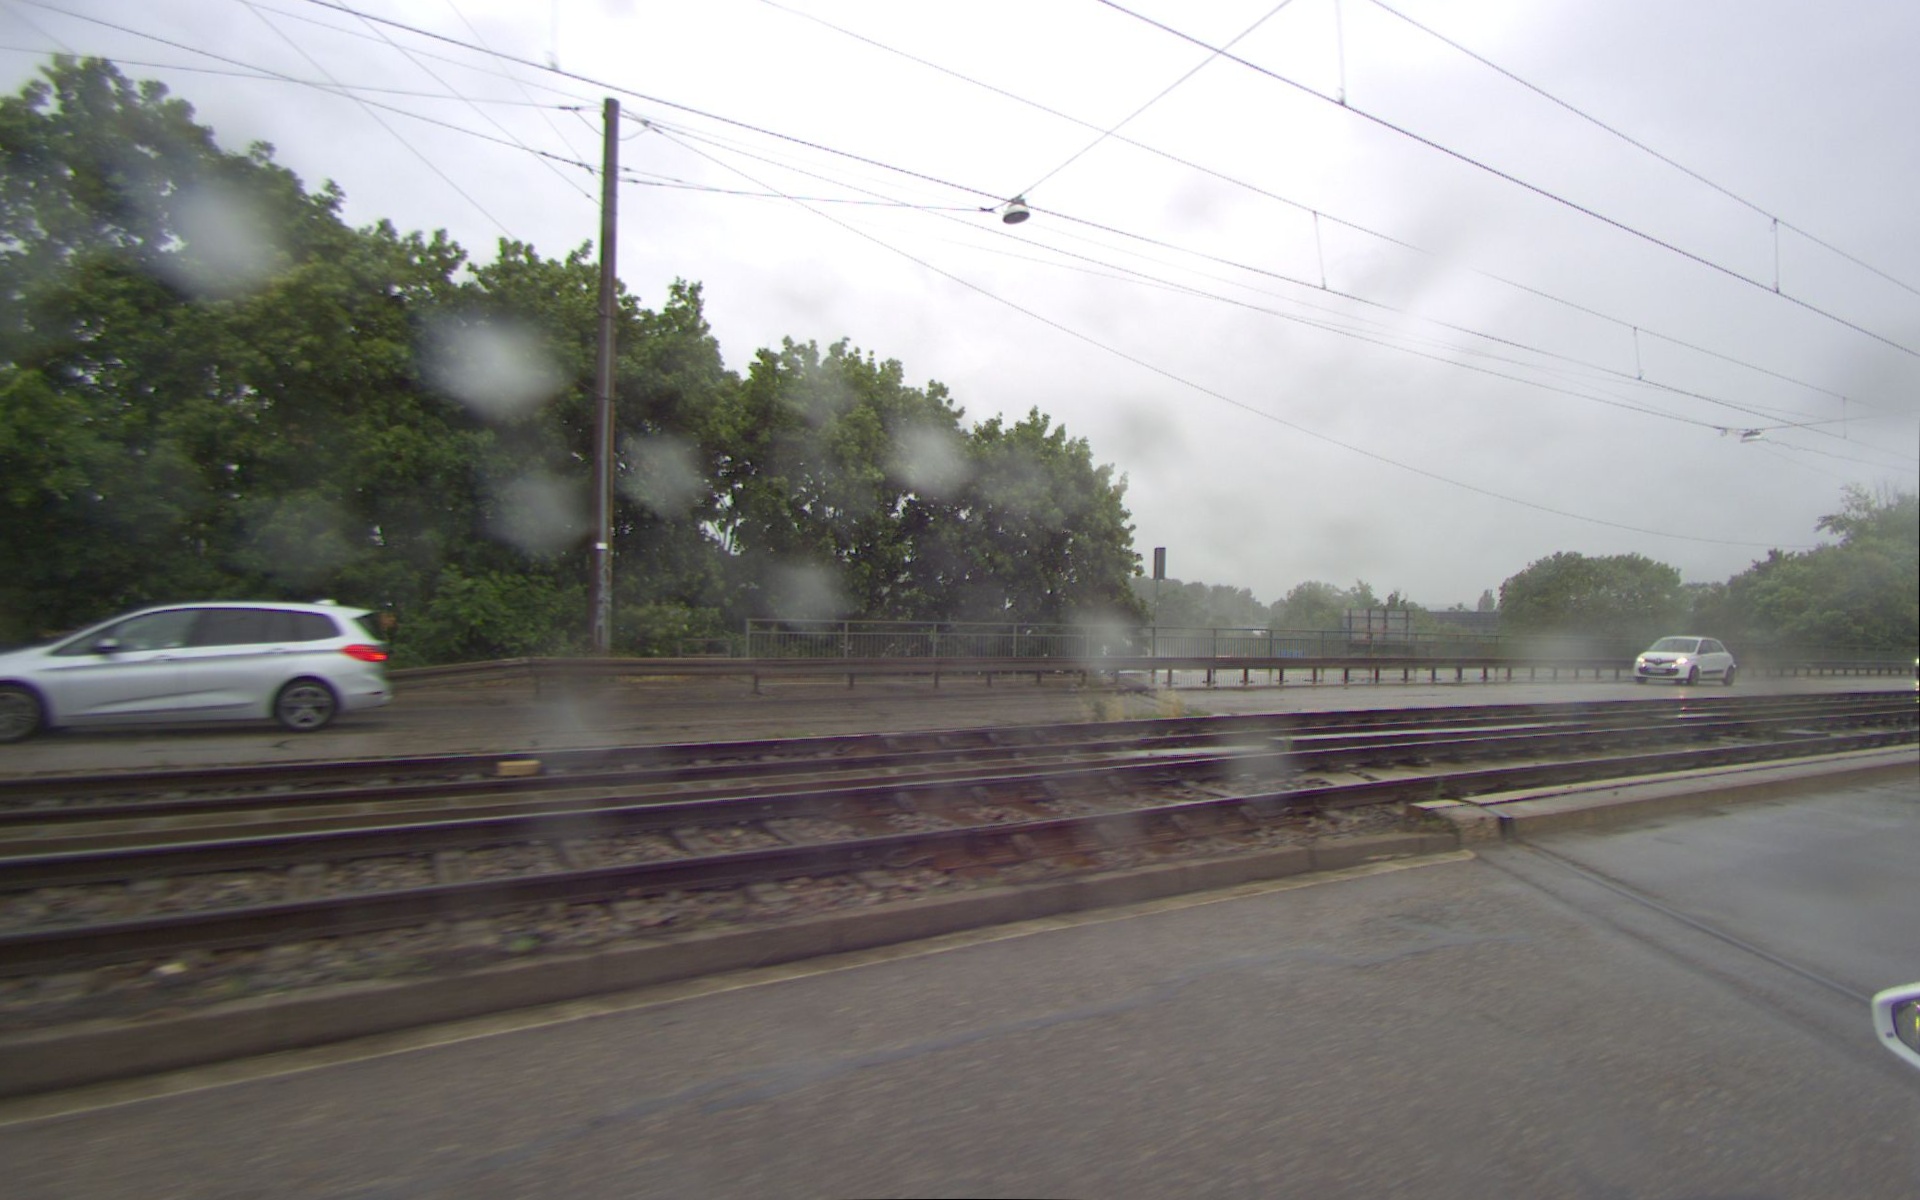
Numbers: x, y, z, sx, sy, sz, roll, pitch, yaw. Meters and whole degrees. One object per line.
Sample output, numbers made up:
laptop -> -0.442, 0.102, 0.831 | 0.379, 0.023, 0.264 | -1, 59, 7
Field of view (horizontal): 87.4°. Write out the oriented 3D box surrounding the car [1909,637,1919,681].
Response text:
car -> 43.686, 2.673, 44.017 | 4.343, 1.856, 1.839 | 3, 2, -30

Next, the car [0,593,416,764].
car -> -9.367, 0.916, 12.374 | 4.607, 1.734, 1.823 | 3, 2, -31

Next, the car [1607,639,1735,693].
car -> 23.277, 2.149, 32.858 | 3.954, 1.638, 1.984 | 3, -1, -30
